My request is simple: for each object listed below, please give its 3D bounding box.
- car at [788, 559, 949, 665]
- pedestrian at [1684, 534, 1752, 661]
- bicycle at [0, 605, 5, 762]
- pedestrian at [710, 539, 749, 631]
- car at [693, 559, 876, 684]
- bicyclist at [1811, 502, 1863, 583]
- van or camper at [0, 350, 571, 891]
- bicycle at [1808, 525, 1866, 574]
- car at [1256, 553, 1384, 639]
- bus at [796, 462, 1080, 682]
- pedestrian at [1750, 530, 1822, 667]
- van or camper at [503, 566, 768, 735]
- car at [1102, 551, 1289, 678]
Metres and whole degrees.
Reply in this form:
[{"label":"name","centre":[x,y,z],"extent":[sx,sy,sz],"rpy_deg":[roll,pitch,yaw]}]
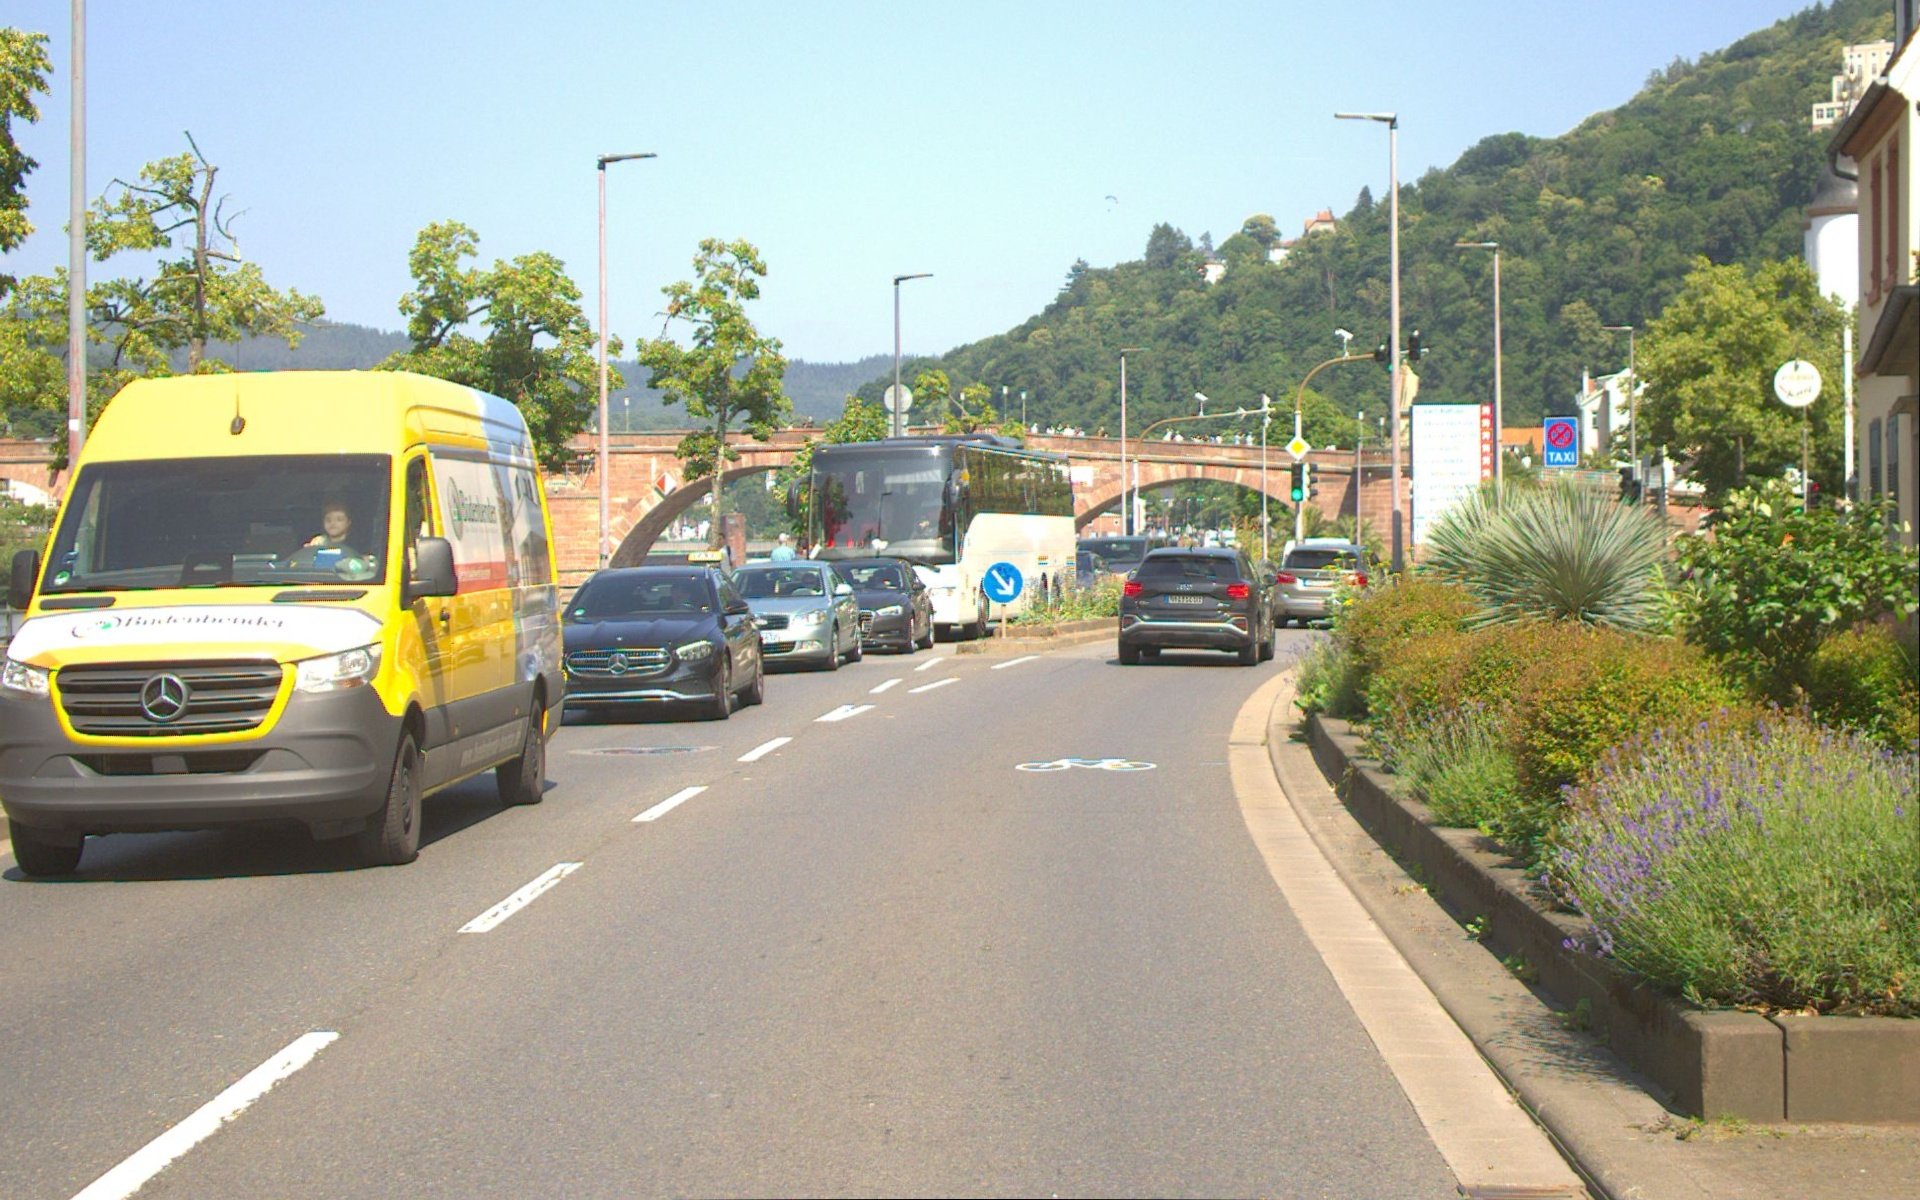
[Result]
[{"label":"car","centre":[-1.317,0.148,51.293],"extent":[1.817,1.424,4.192],"rpy_deg":[-2,1,6]},{"label":"pedestrian","centre":[9.585,-0.036,43.471],"extent":[0.762,1.589,0.696],"rpy_deg":[-1,1,7]},{"label":"bicycle","centre":[-7.535,0.650,24.815],"extent":[0.711,1.164,1.896],"rpy_deg":[0,1,1]},{"label":"pedestrian","centre":[-4.500,-0.300,67.105],"extent":[0.620,1.774,0.662],"rpy_deg":[-1,1,7]},{"label":"car","centre":[-2.266,0.249,45.554],"extent":[1.814,1.423,4.310],"rpy_deg":[-3,1,5]},{"label":"bicyclist","centre":[17.557,-1.148,68.857],"extent":[0.766,1.578,1.089],"rpy_deg":[-1,1,1]},{"label":"van or camper","centre":[-3.712,0.057,19.818],"extent":[2.087,2.548,7.092],"rpy_deg":[-1,1,0]},{"label":"bicycle","centre":[17.556,-1.013,68.837],"extent":[0.750,0.960,1.782],"rpy_deg":[0,1,2]},{"label":"car","centre":[6.641,-0.098,63.010],"extent":[1.927,1.456,4.830],"rpy_deg":[-1,1,11]},{"label":"bus","centre":[-0.147,-0.488,62.495],"extent":[2.632,3.552,12.977],"rpy_deg":[-1,0,11]},{"label":"pedestrian","centre":[10.391,-0.026,43.257],"extent":[0.738,1.693,0.933],"rpy_deg":[-2,1,7]},{"label":"van or camper","centre":[-3.120,0.445,34.013],"extent":[1.993,1.450,4.682],"rpy_deg":[-3,1,2]},{"label":"car","centre":[3.175,0.144,45.455],"extent":[1.927,1.548,4.830],"rpy_deg":[1,1,10]}]
